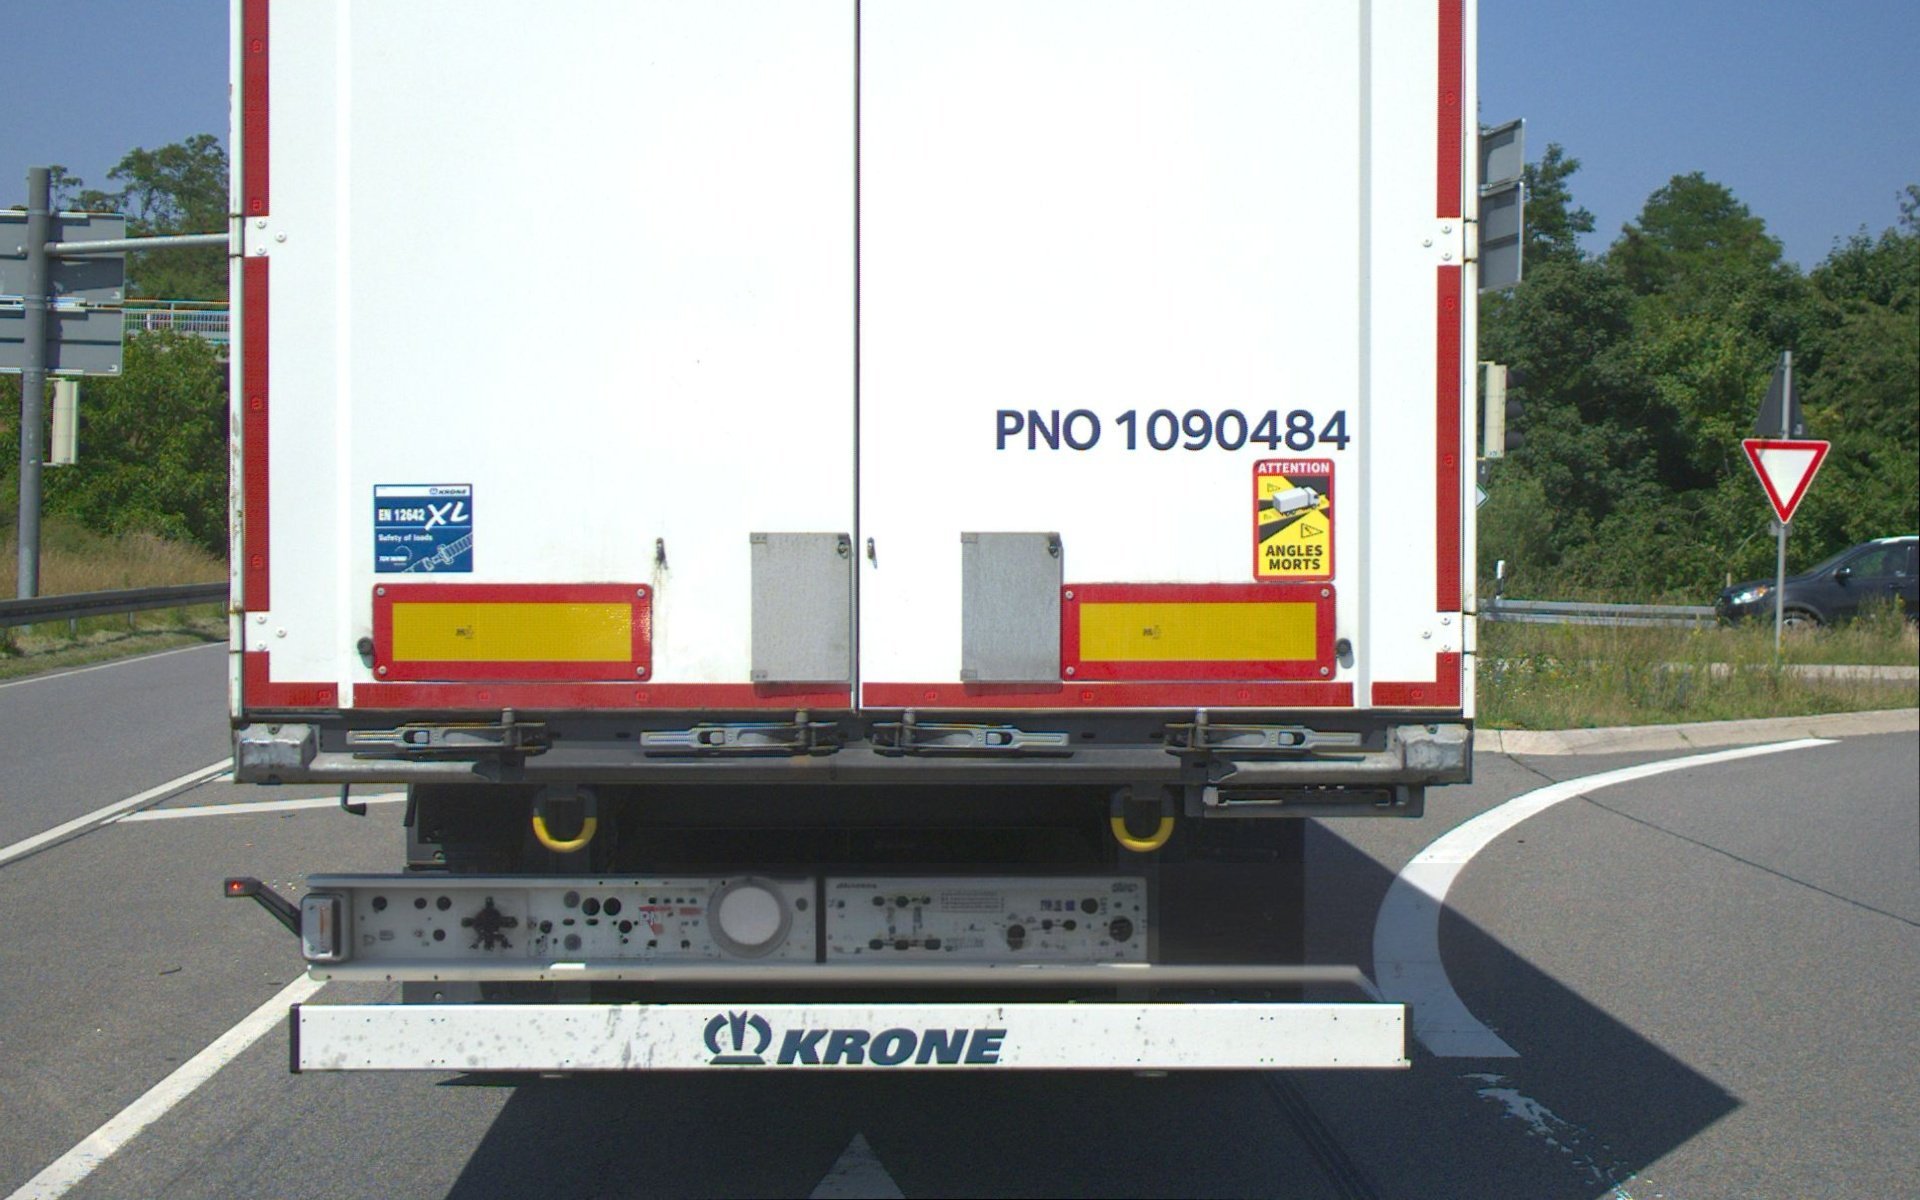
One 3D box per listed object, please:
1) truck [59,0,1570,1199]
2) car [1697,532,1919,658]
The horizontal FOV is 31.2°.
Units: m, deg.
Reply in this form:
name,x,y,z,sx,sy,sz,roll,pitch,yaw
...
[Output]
name,x,y,z,sx,sy,sz,roll,pitch,yaw
truck,-0.385,-0.659,11.778,2.987,3.928,9.876,1,1,-1
car,12.026,-0.070,46.090,3.986,1.634,1.841,1,0,5
